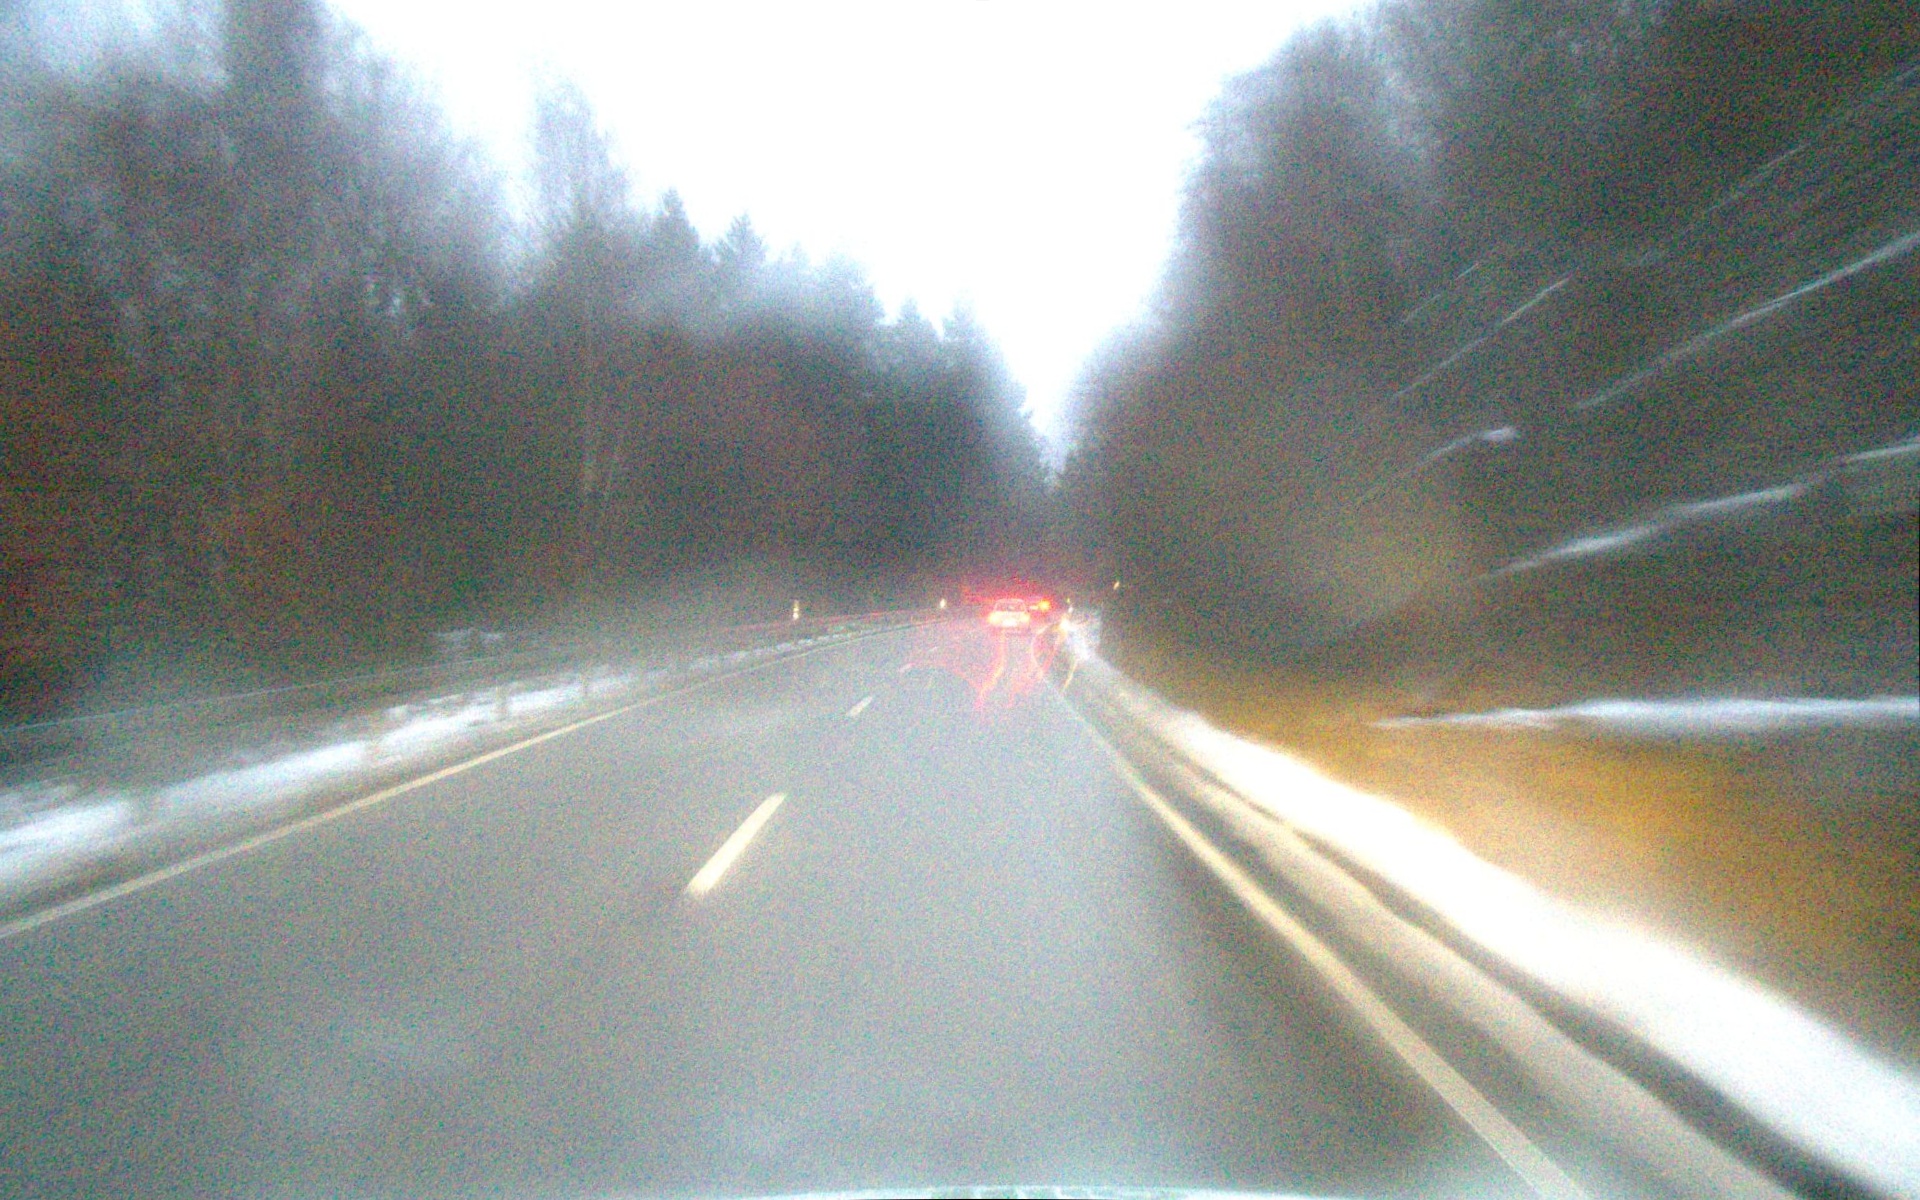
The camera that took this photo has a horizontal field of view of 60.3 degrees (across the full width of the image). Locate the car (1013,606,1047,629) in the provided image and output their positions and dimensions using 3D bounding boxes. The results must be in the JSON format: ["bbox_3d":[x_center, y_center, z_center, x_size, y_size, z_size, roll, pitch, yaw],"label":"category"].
[{"bbox_3d":[4.308,1.069,102.022,1.952,1.333,4.000,-2,0,1],"label":"car"}]

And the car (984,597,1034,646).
[{"bbox_3d":[1.989,0.857,68.058,1.952,1.905,4.000,-2,0,1],"label":"car"}]
